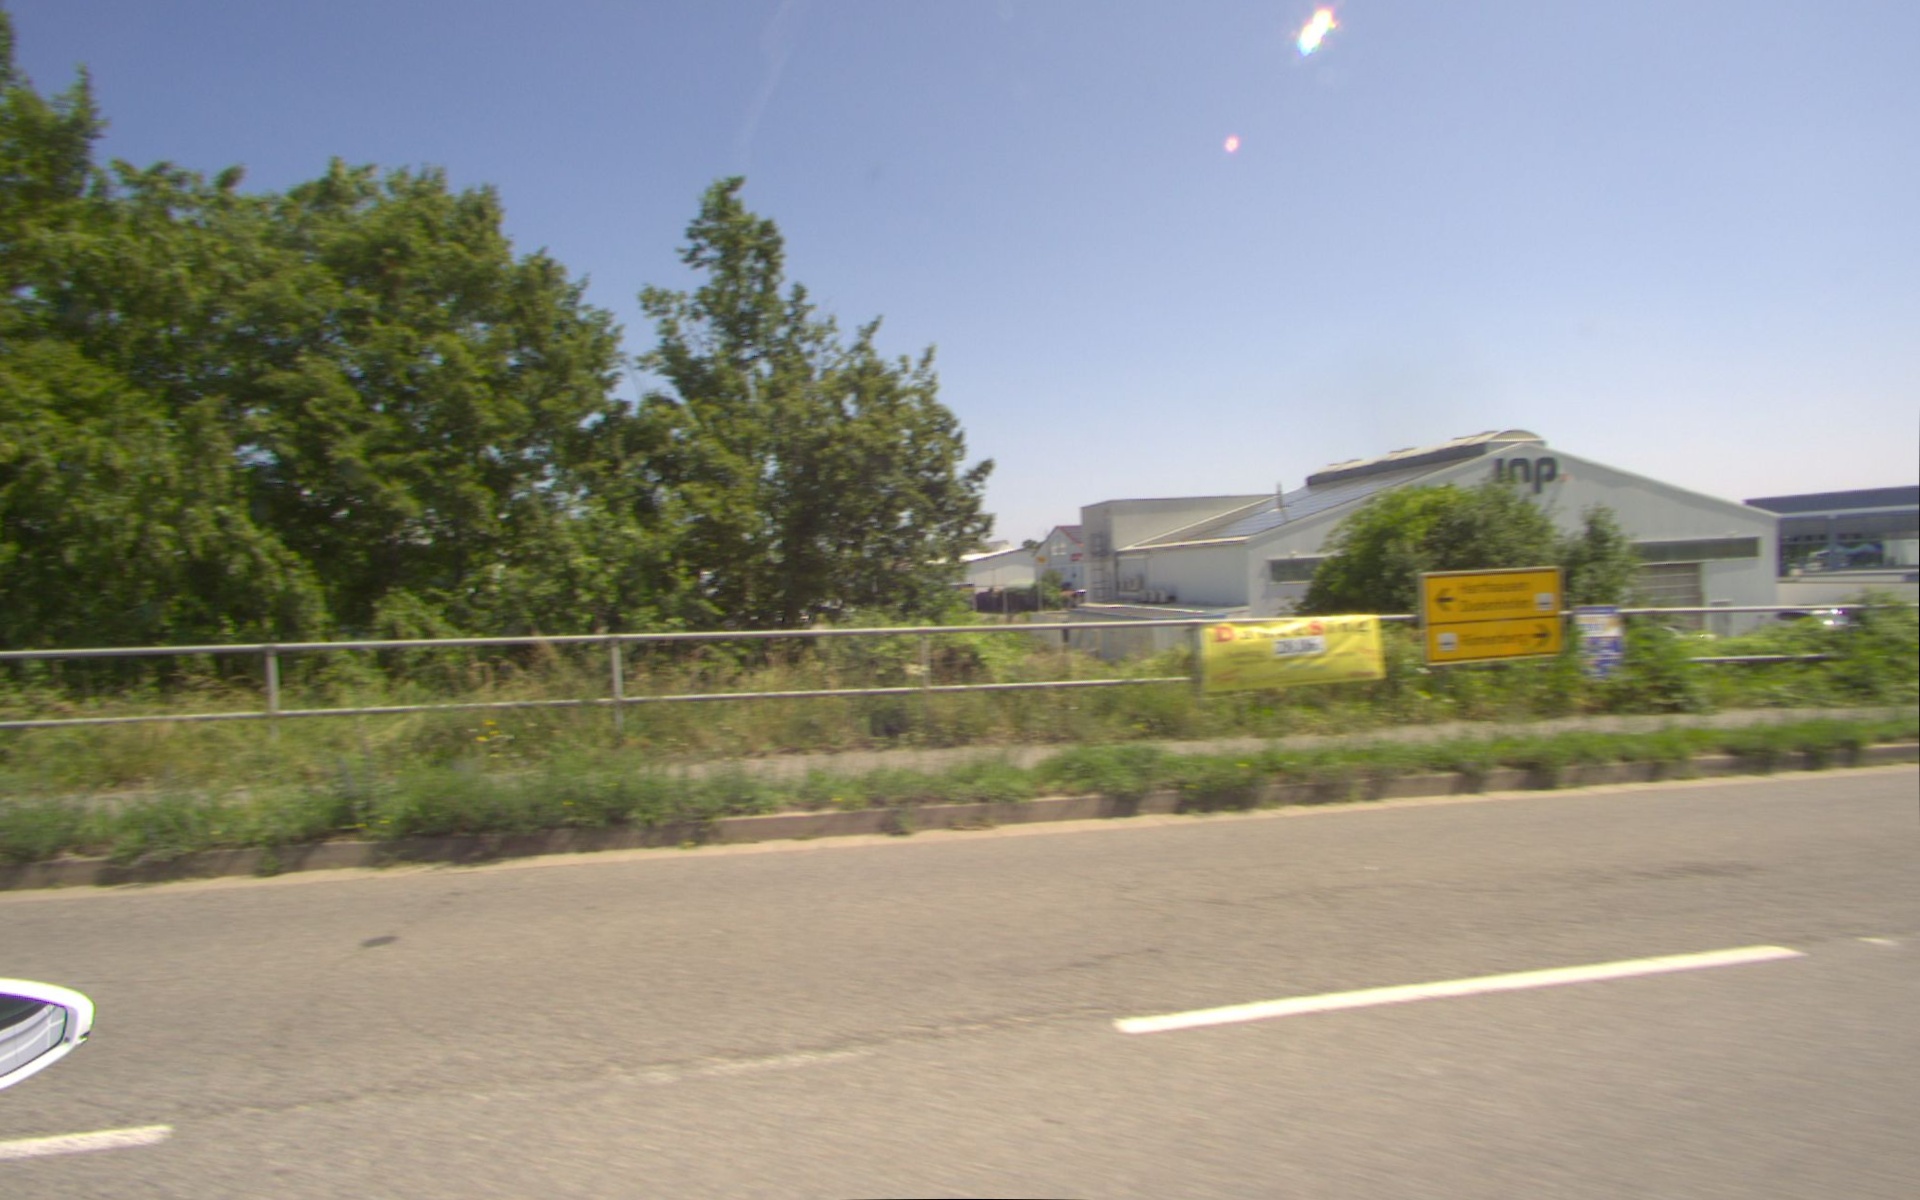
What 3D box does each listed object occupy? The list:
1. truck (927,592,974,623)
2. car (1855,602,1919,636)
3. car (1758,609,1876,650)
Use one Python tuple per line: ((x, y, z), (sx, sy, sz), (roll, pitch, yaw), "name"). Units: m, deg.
((-1.542, 1.057, 148.062), (3.653, 4.368, 13.318), (-1, 1, -15), "truck")
((48.573, 0.966, 51.093), (1.699, 1.594, 4.067), (-4, 1, -14), "car")
((41.515, 1.386, 48.634), (1.699, 1.747, 4.135), (-4, 1, -14), "car")
